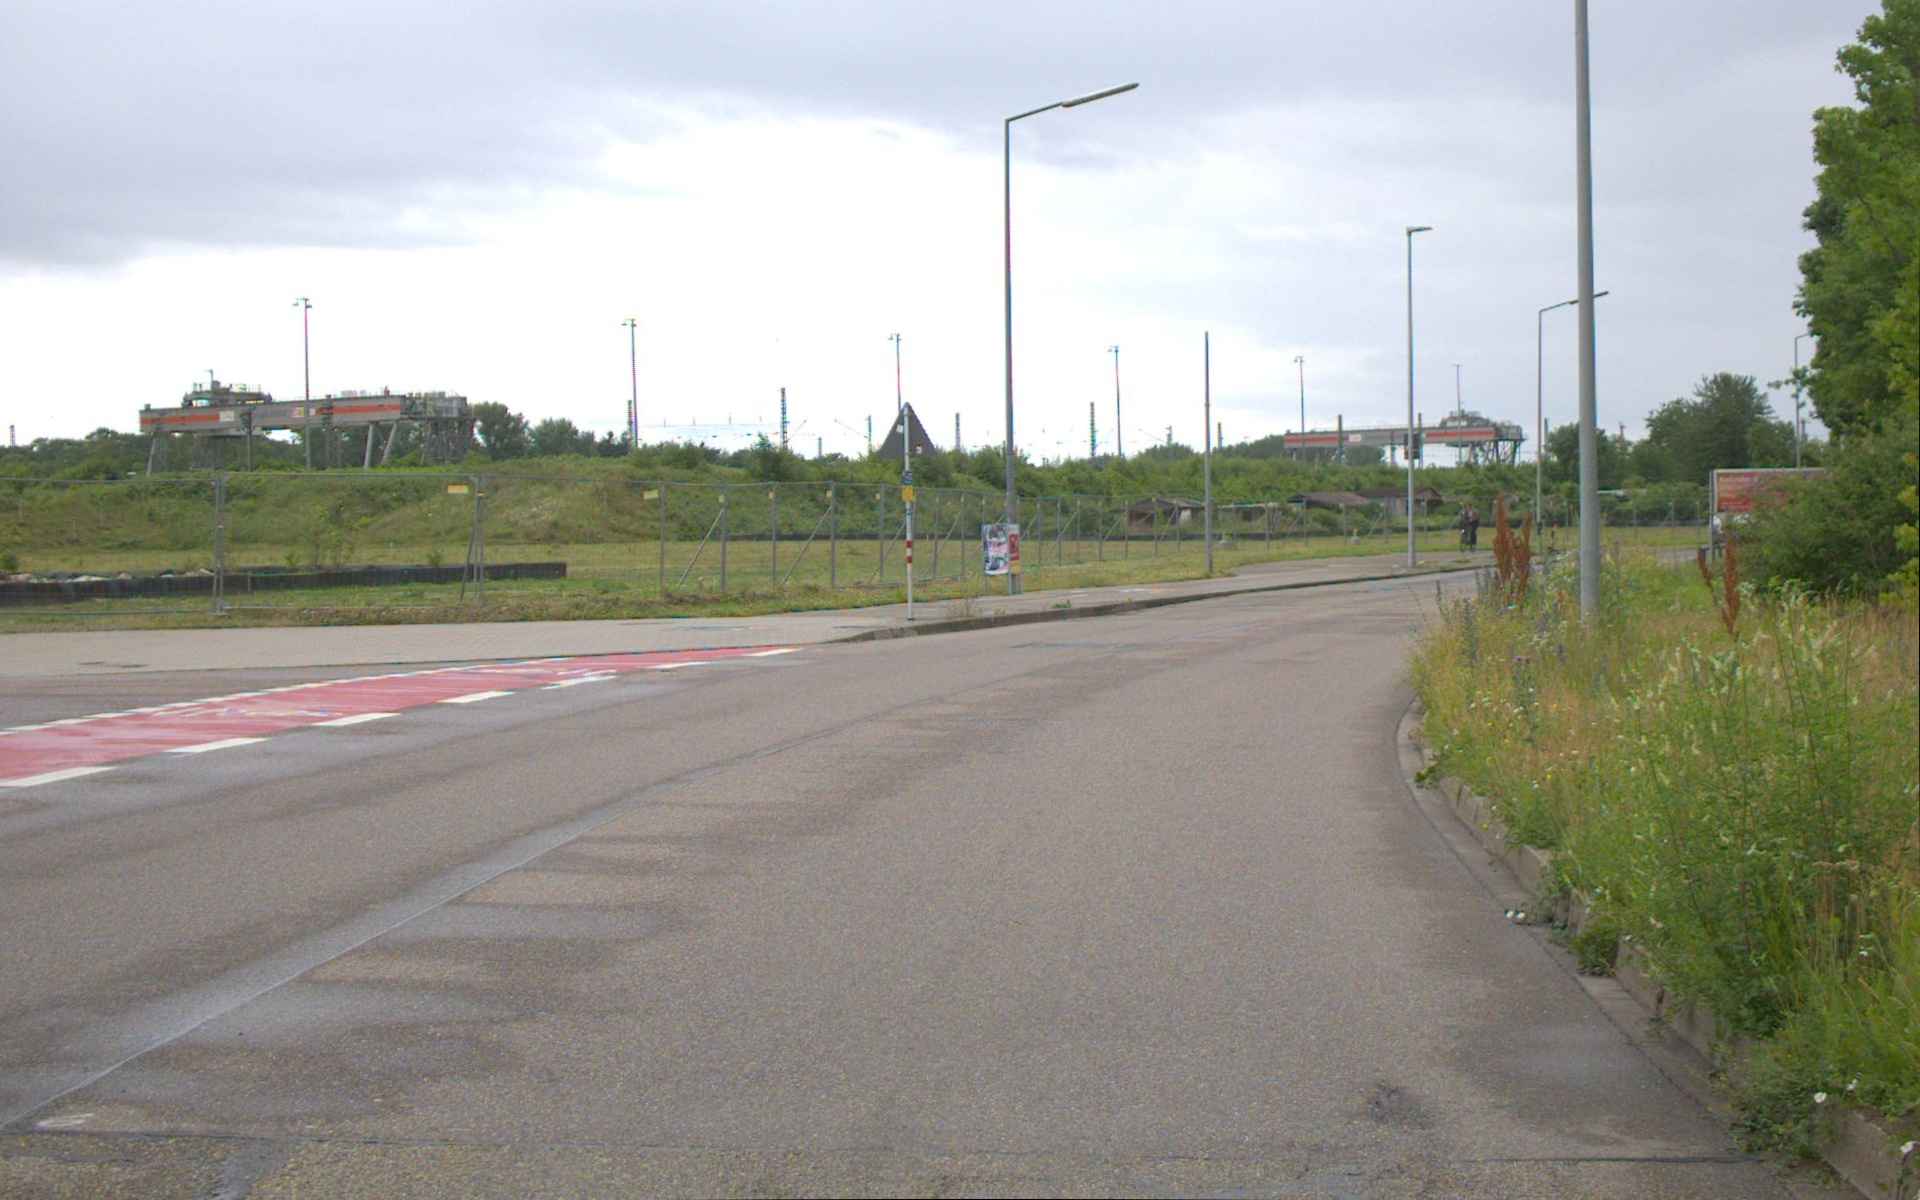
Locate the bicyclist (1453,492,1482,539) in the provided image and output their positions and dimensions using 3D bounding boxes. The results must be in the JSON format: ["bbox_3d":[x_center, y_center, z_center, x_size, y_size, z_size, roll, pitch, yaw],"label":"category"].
[{"bbox_3d":[16.973,-2.825,115.021,0.782,1.521,1.093,0,2,18],"label":"bicyclist"}]

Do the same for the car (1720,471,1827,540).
[{"bbox_3d":[31.381,-3.667,132.456,2.292,2.547,6.400,0,2,29],"label":"car"}]

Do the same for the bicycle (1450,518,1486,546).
[{"bbox_3d":[16.996,-2.275,115.054,0.804,0.904,2.230,0,2,19],"label":"bicycle"}]
